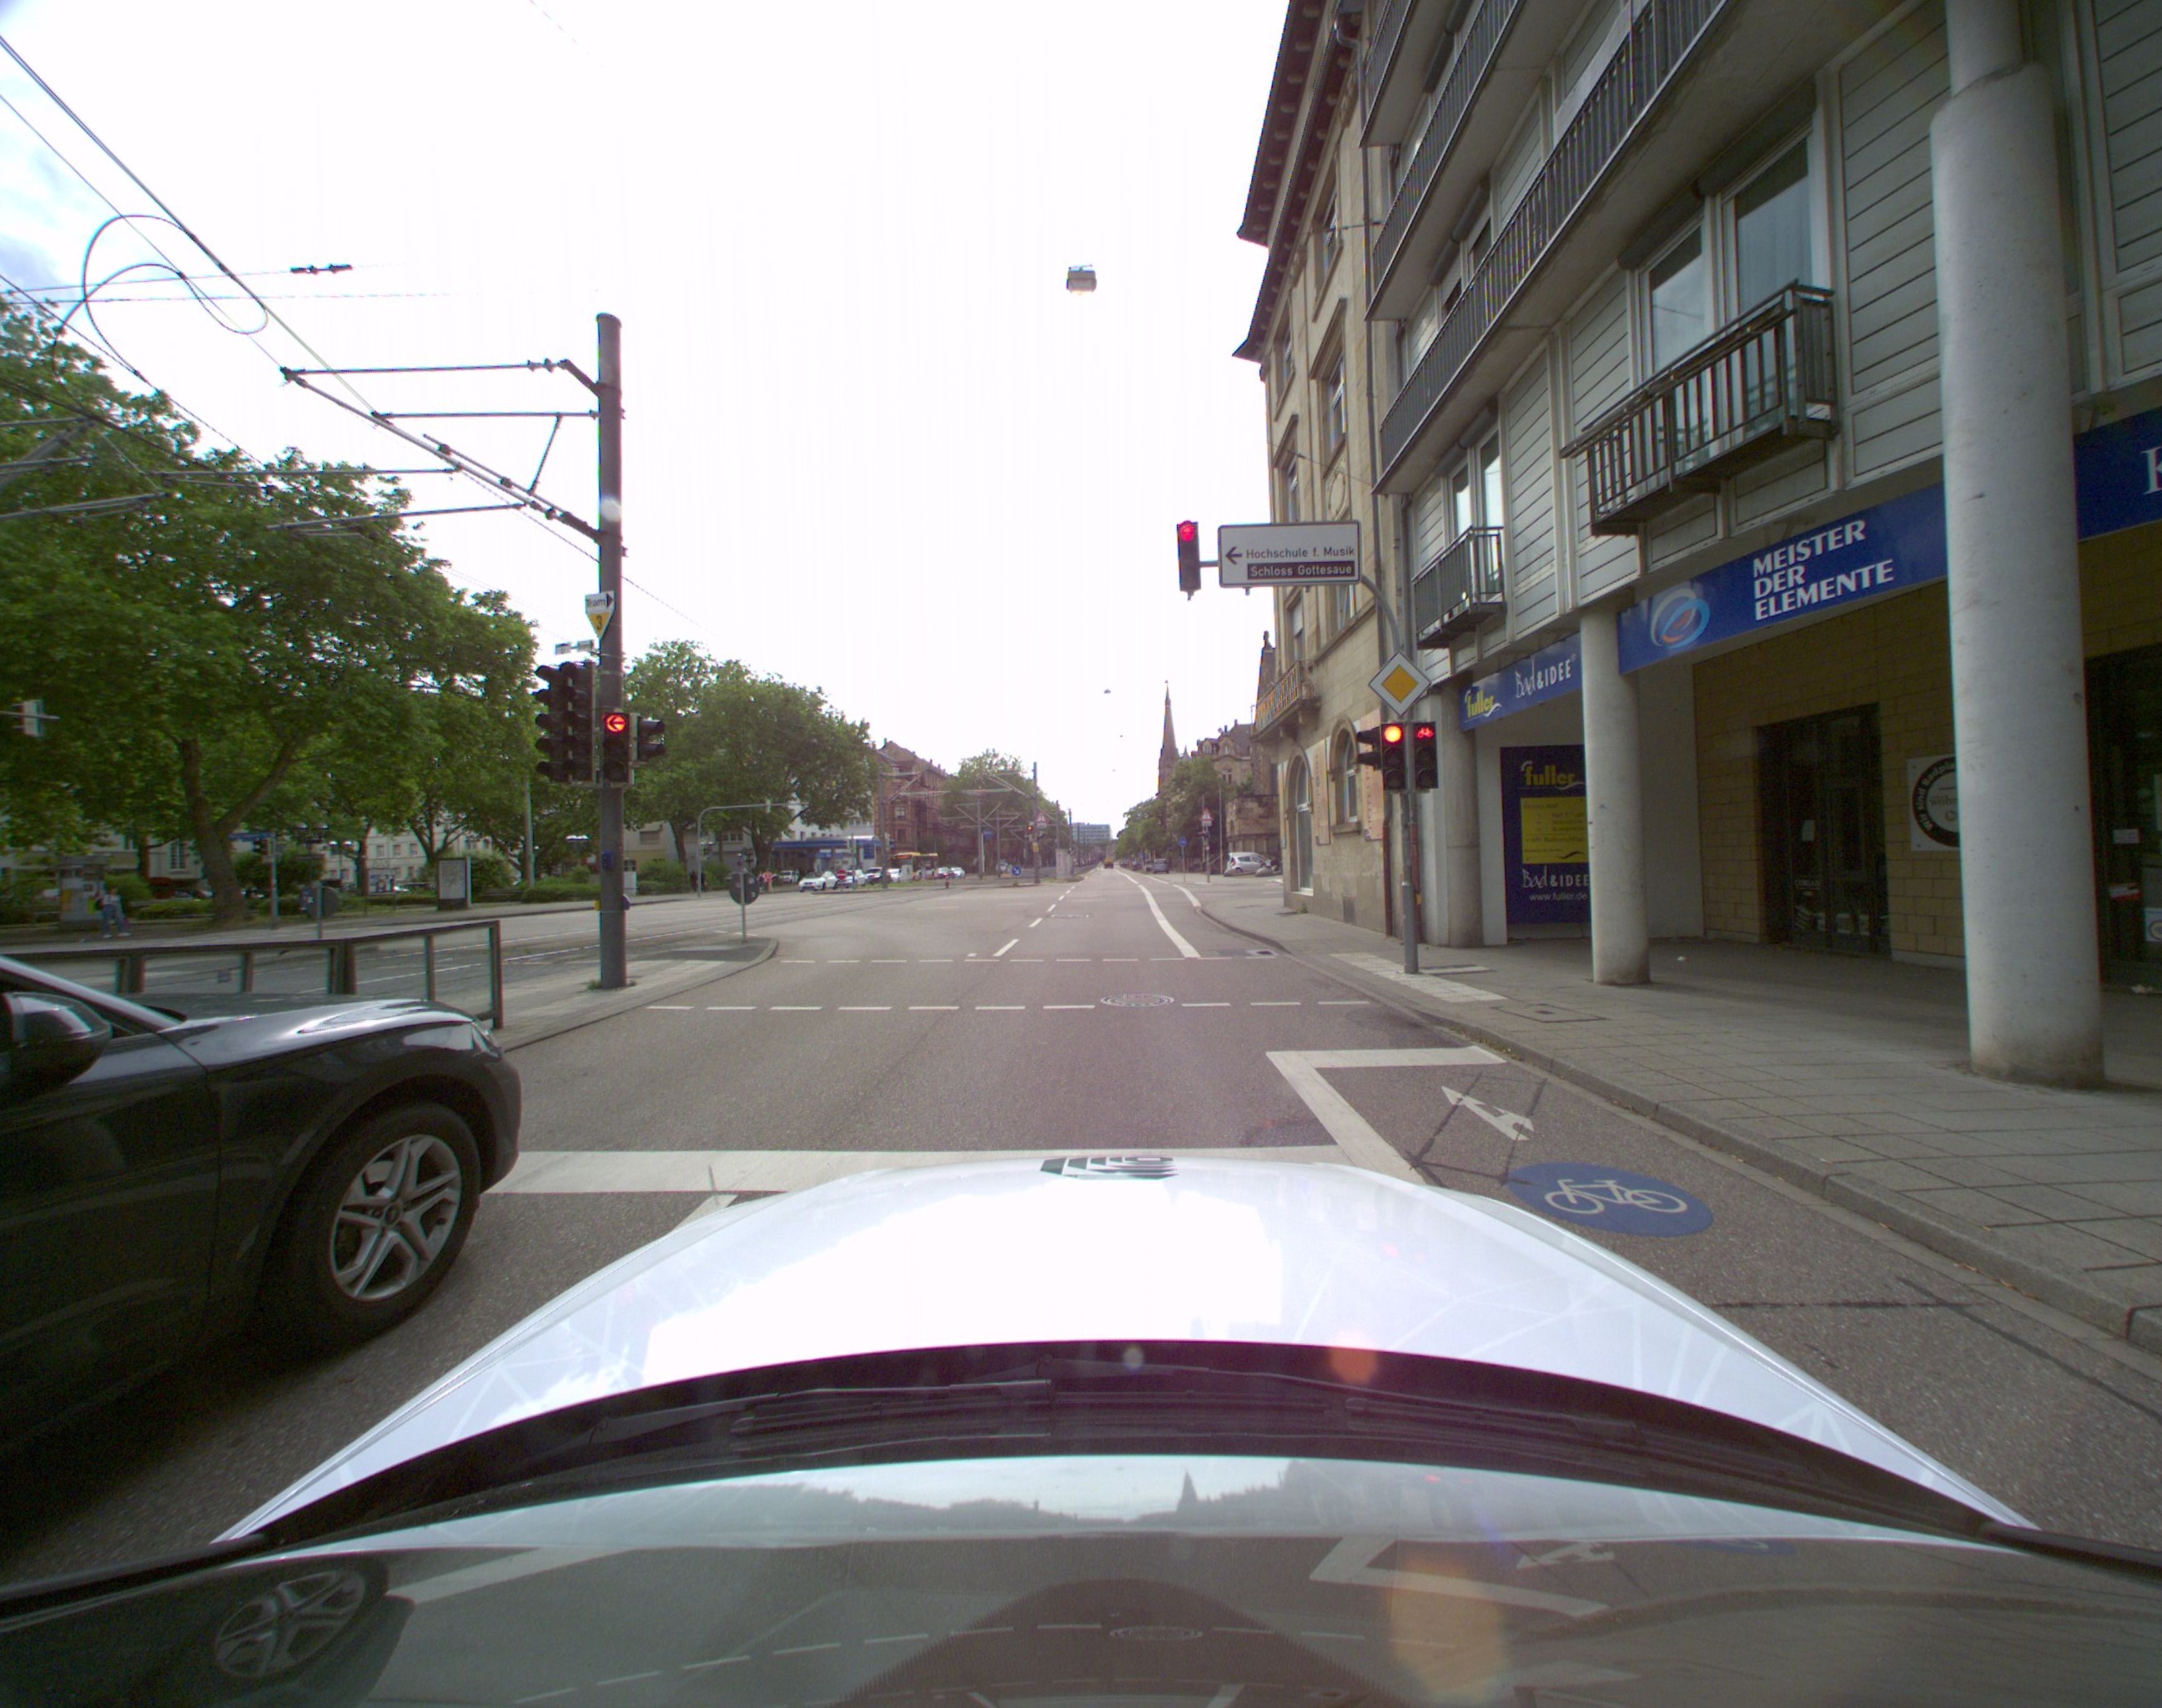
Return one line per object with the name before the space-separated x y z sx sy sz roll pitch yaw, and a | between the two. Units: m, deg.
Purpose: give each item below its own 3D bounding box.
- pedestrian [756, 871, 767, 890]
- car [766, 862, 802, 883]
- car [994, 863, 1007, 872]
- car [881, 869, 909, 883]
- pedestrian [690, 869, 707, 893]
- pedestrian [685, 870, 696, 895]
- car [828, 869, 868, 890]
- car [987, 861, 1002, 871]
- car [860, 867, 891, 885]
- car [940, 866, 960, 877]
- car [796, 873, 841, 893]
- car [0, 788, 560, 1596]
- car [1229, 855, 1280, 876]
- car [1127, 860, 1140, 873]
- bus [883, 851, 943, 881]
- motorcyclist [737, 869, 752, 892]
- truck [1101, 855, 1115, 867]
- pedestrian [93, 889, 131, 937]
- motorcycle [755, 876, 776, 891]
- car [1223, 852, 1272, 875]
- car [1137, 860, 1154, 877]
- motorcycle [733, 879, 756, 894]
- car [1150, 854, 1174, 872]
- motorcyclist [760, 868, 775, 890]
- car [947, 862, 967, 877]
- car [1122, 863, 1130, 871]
pedestrian | -26.026 2.155 66.403 0.645 1.479 0.557 -2 -1 1
car | -29.757 1.817 81.785 1.986 2.014 4.001 -2 -1 2
car | -14.786 2.454 149.907 1.986 1.610 4.001 0 -1 2
car | -18.155 2.107 79.647 1.649 1.321 3.641 0 -1 3
pedestrian | -27.418 1.932 58.373 0.879 1.713 0.864 -1 -1 -36
pedestrian | -27.797 2.034 57.941 0.692 1.713 0.862 -1 -1 -27
car | -18.841 2.063 66.083 1.986 1.594 4.001 0 -1 2
car | -15.046 2.072 142.098 1.986 1.610 4.001 0 -1 2
car | -18.327 1.936 72.726 1.649 1.478 3.641 0 -1 3
car | -16.521 2.198 102.796 1.649 1.321 3.641 0 -1 3
car | -19.162 2.083 59.552 1.739 1.321 4.079 0 -1 4
car | -3.069 0.686 1.235 1.727 1.637 4.228 0 -1 2
car | 13.751 0.909 64.761 3.699 1.563 2.001 0 -1 2
car | 8.694 2.059 135.984 1.986 2.014 4.001 0 -1 2
bus | -18.296 1.306 89.724 3.217 3.035 12.323 0 0 4
motorcyclist | -22.715 1.759 54.983 0.617 1.520 0.874 -2 -1 2
truck | 6.827 1.771 204.344 3.042 2.769 9.826 -2 0 4
pedestrian | -31.448 1.896 26.435 0.674 1.510 0.661 -2 -1 28
motorcycle | -21.555 2.021 55.700 0.604 0.928 1.953 -2 -1 2
car | 13.929 0.792 68.243 3.699 1.855 2.001 0 -1 2
car | 7.894 1.702 99.600 1.985 2.014 4.004 0 -1 4
motorcycle | -22.705 2.184 54.984 0.604 0.928 1.953 -2 -1 2
car | 8.977 0.992 89.957 1.979 1.855 4.042 -1 -1 14
motorcyclist | -21.553 1.719 56.015 0.617 1.520 0.874 -2 -1 2
car | -16.745 2.069 110.195 1.986 2.014 4.001 0 -1 2
car | 11.922 3.380 216.792 1.986 2.014 4.001 0 -1 2
